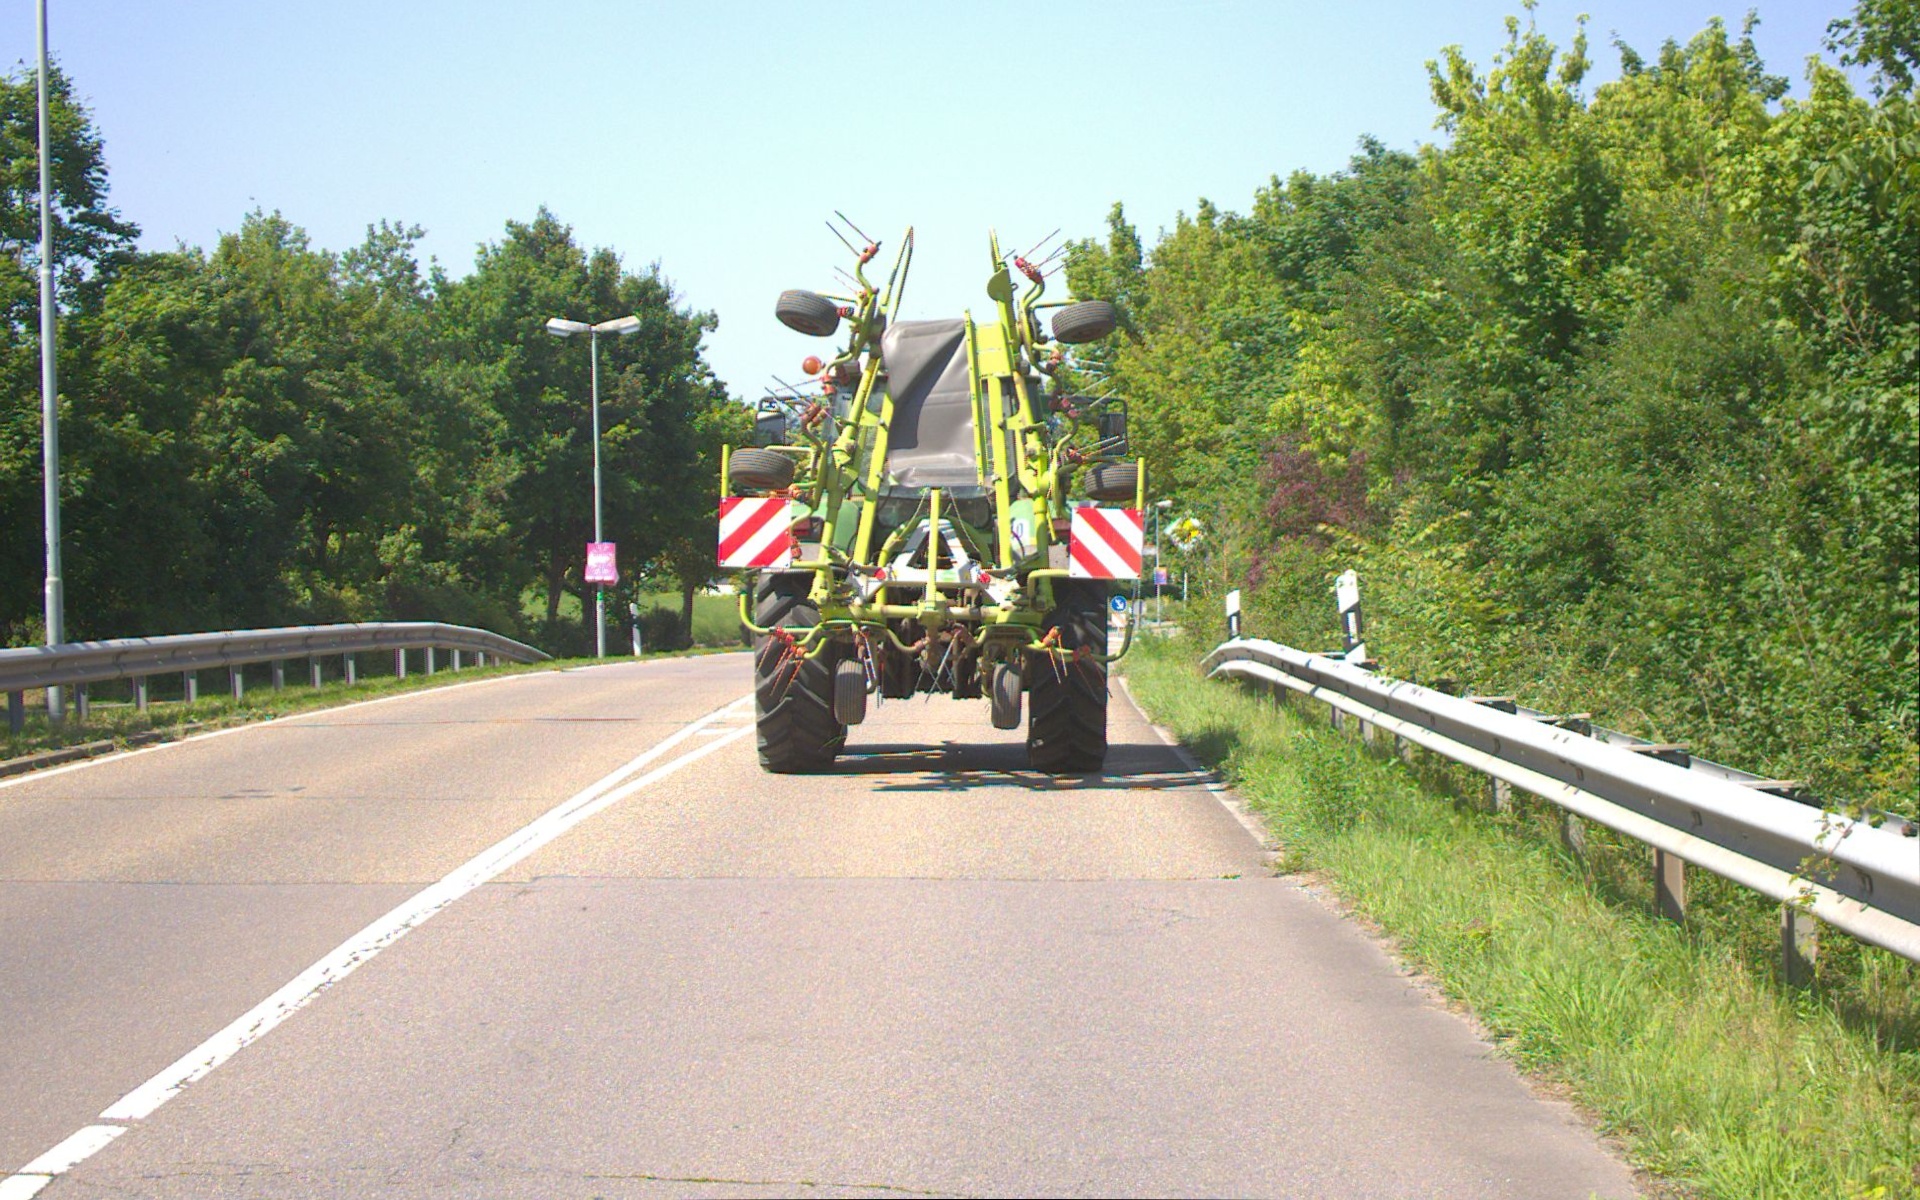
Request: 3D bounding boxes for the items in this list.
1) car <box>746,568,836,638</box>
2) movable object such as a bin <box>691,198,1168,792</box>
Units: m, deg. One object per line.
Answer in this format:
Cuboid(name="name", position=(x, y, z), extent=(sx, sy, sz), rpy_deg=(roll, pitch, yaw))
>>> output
Cuboid(name="car", position=(-3.435, 0.049, 70.616), extent=(1.739, 1.371, 4.000), rpy_deg=(0, 1, -1))
Cuboid(name="movable object such as a bin", position=(-0.148, -0.653, 22.710), extent=(2.755, 3.432, 5.670), rpy_deg=(0, 1, 1))
